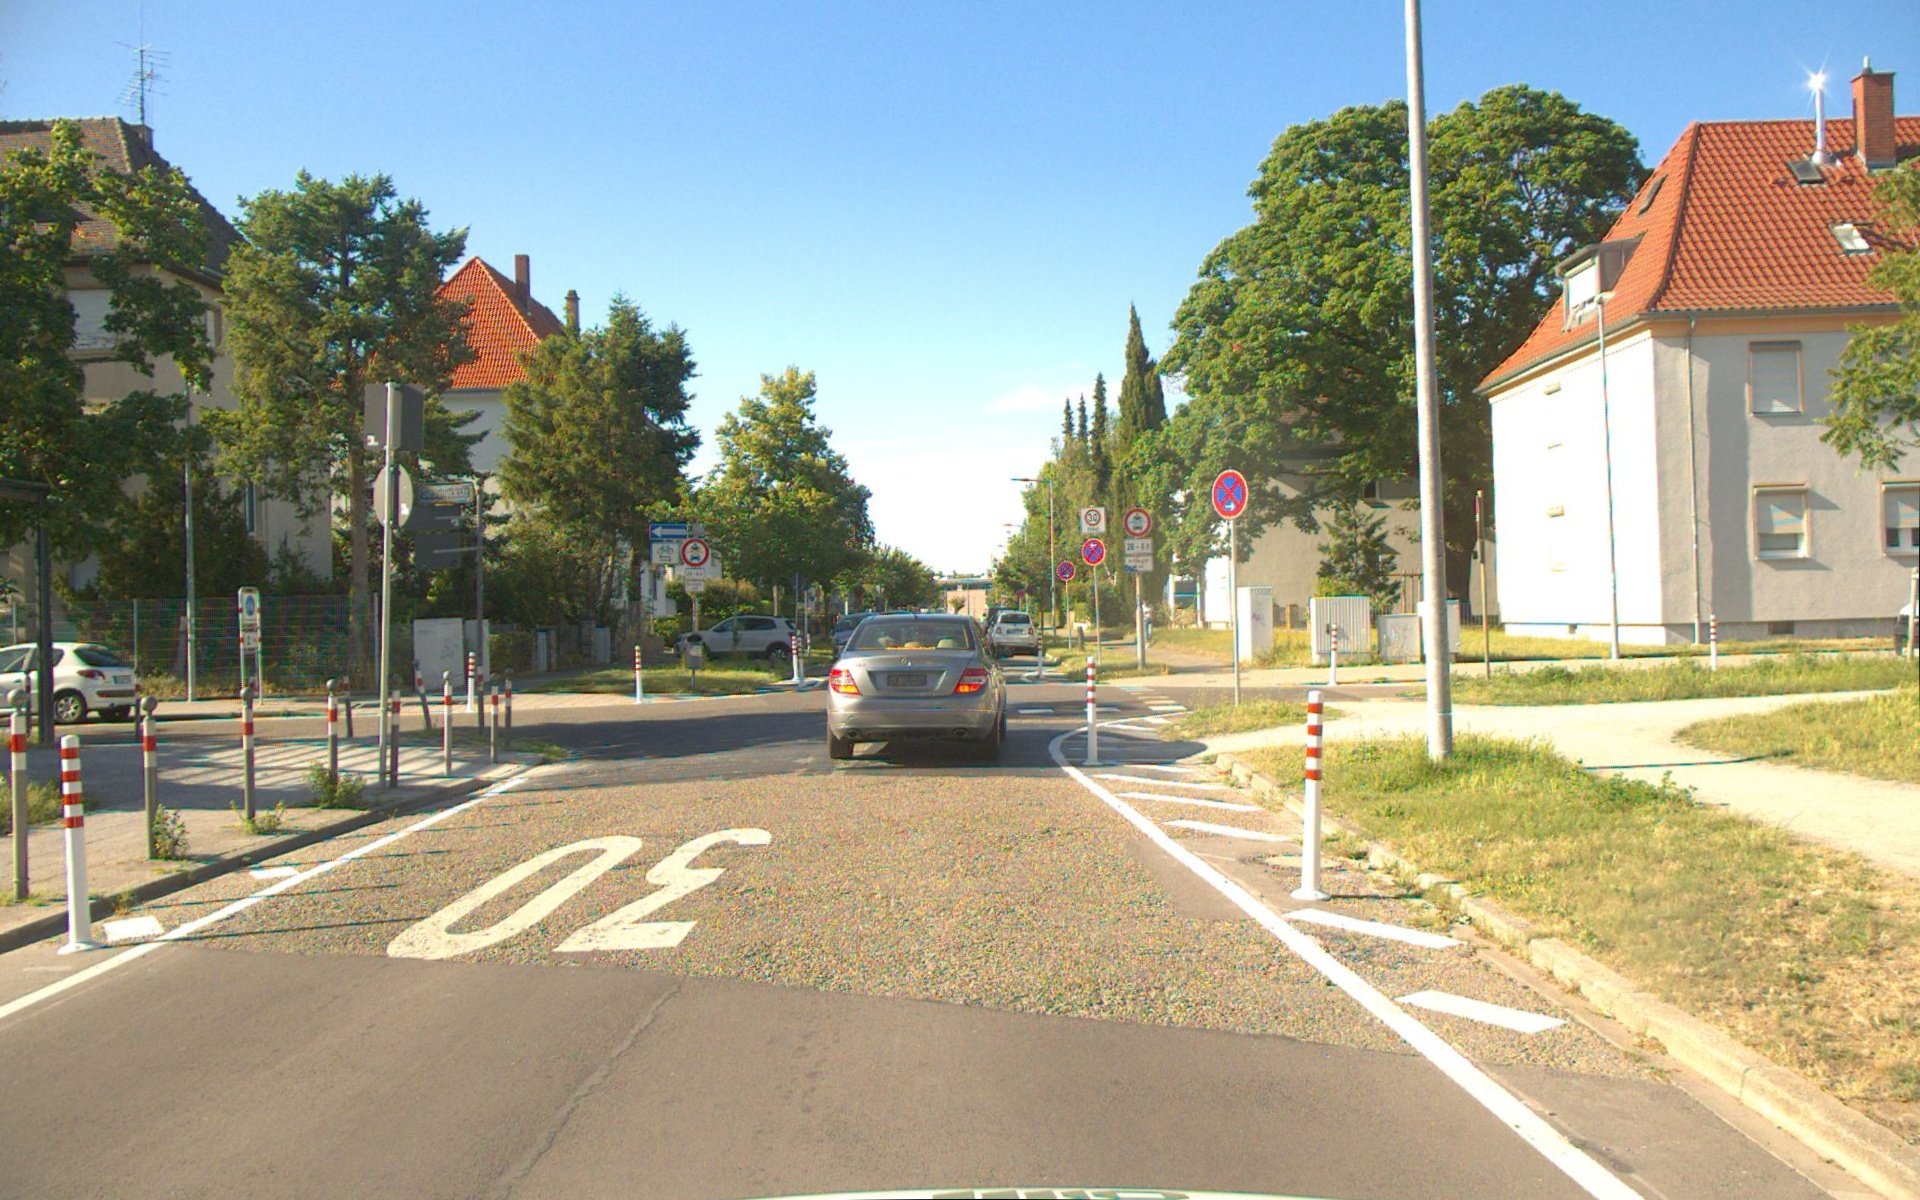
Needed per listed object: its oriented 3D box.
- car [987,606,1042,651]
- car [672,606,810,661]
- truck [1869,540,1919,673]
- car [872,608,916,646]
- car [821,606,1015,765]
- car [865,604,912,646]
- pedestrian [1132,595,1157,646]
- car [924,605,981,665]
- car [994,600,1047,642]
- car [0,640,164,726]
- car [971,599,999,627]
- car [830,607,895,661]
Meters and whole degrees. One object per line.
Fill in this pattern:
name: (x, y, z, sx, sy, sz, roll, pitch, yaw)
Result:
car: (1.915, 0.999, 59.345, 1.698, 1.505, 3.724, -2, 0, -2)
car: (-6.817, 1.039, 51.902, 4.108, 1.591, 1.841, -1, -1, -3)
truck: (17.336, 0.019, 26.159, 4.759, 2.071, 2.000, -2, 0, 0)
car: (-3.210, 1.276, 80.645, 1.954, 1.637, 3.999, -5, 0, -2)
car: (-0.342, 0.816, 17.606, 1.798, 1.466, 4.001, -1, 0, 2)
car: (-3.210, 1.110, 74.853, 1.954, 1.637, 3.999, -5, 0, -2)
pedestrian: (6.118, 0.680, 54.743, 0.750, 1.639, 0.834, -2, -1, 5)
car: (-0.254, 1.007, 48.786, 1.565, 1.638, 3.642, -2, 0, -2)
car: (2.547, 0.884, 70.158, 1.953, 1.638, 3.999, -2, 0, -2)
car: (-16.526, 1.494, 29.591, 3.687, 1.423, 1.707, -2, -1, 0)
car: (1.710, 0.879, 115.195, 1.817, 1.873, 4.000, -2, 0, 0)
car: (-3.323, 1.139, 57.042, 1.954, 1.637, 3.999, -5, 0, -2)
